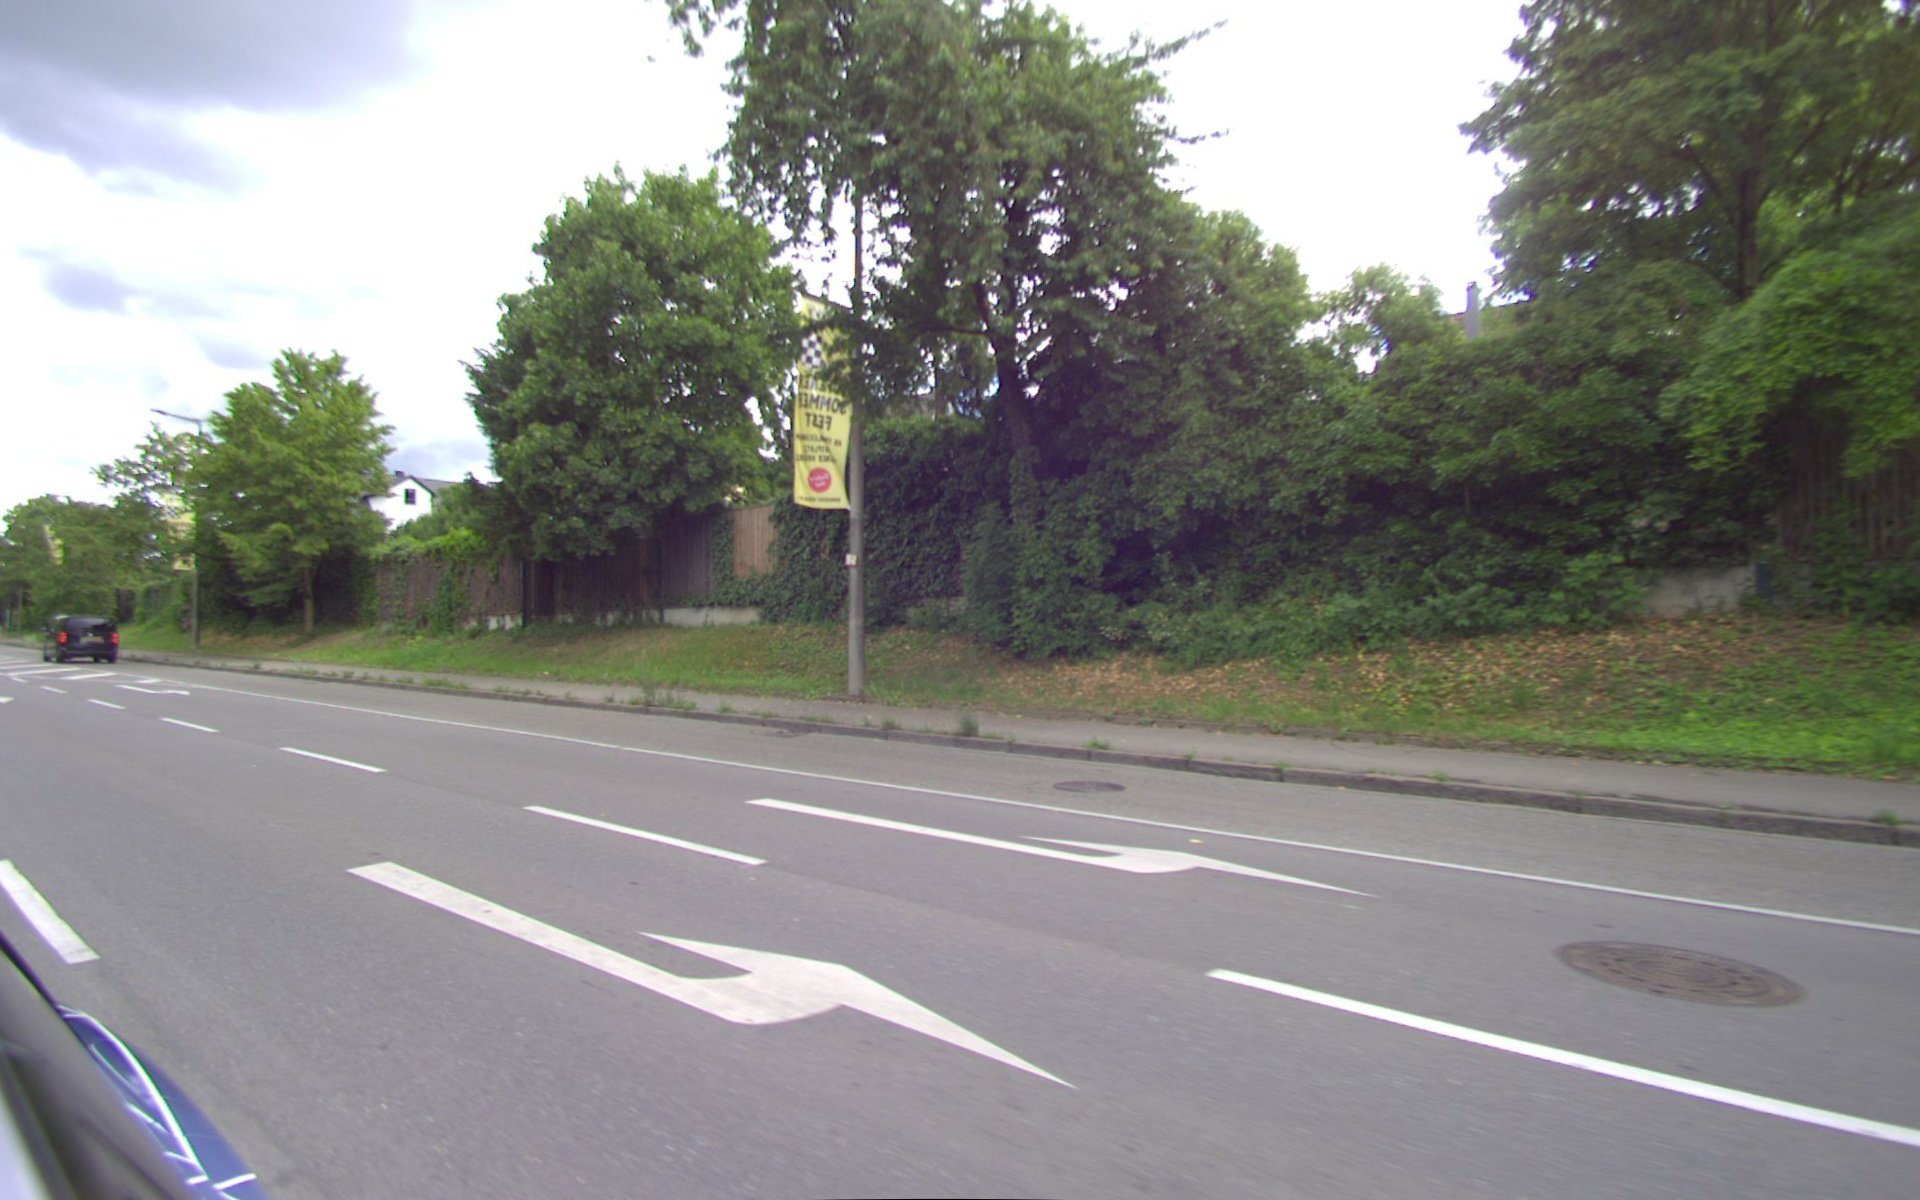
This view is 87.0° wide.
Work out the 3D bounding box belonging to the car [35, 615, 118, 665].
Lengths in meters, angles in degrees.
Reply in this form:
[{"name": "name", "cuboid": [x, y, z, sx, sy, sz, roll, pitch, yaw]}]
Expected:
[{"name": "car", "cuboid": [-35.978, 1.598, 41.179, 4.685, 1.919, 1.785, -1, -3, 40]}]
